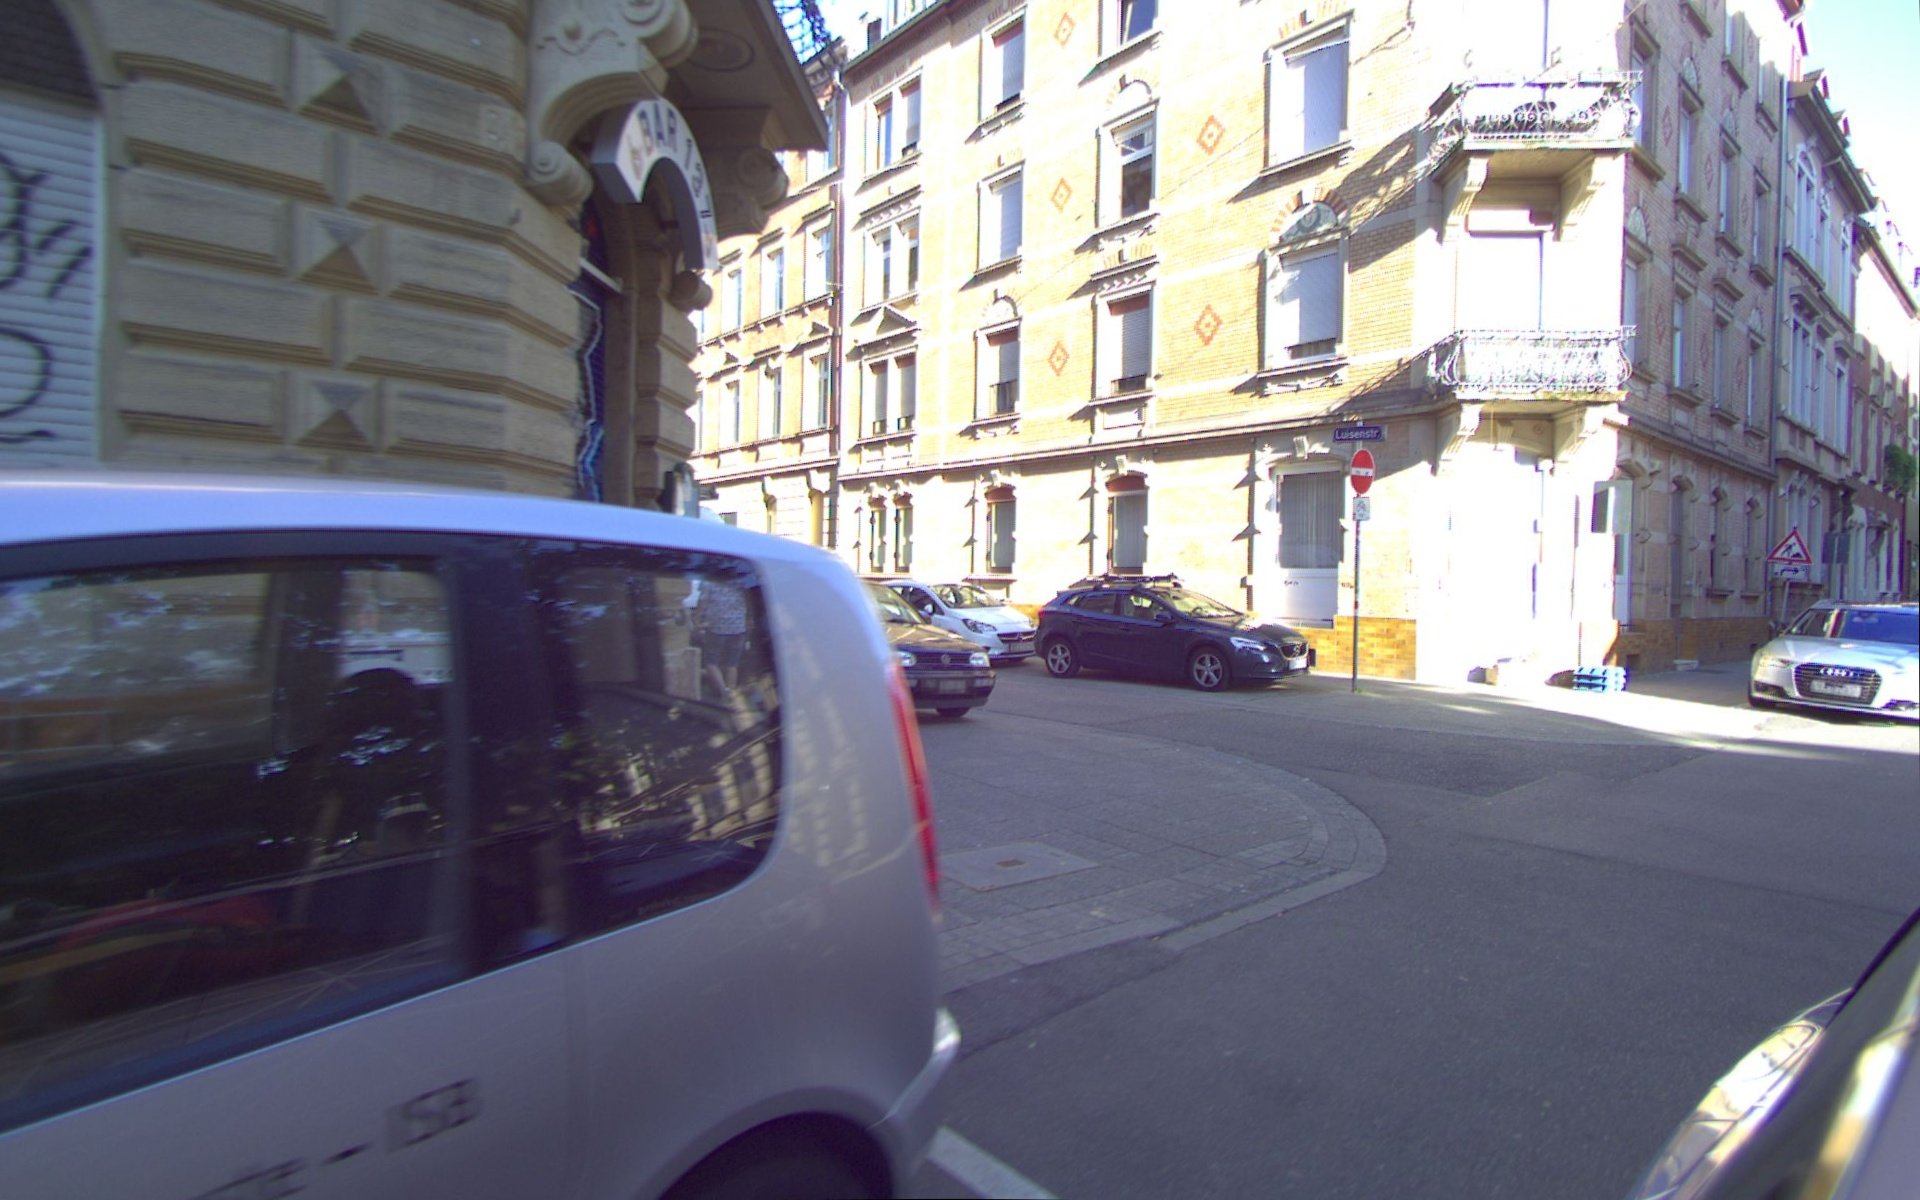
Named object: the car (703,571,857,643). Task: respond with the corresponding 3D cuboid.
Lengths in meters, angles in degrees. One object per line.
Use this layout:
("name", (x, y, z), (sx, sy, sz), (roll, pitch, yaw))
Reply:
("car", (-4.176, 0.125, 23.023), (1.704, 1.488, 3.995), (0, 0, -40))

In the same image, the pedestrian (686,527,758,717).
("pedestrian", (-2.310, 0.201, 9.788), (0.563, 1.754, 0.665), (1, 0, -21))

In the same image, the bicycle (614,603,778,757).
("bicycle", (-2.126, 0.567, 7.995), (0.524, 1.068, 1.779), (0, 0, -41))

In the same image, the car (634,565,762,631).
("car", (-6.941, -0.056, 26.558), (1.704, 1.602, 3.995), (0, 0, -40))

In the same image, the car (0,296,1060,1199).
("car", (-1.815, 0.589, 1.155), (3.871, 1.736, 1.705), (0, 1, -43))

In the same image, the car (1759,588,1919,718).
("car", (12.204, 0.601, 13.389), (4.432, 1.477, 1.709), (0, -1, -40))

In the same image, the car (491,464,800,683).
("car", (-5.161, -0.312, 15.675), (2.030, 2.685, 6.821), (3, -2, -40))

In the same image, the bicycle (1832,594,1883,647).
("bicycle", (23.594, 0.515, 26.594), (1.662, 1.320, 0.728), (0, 3, -40))

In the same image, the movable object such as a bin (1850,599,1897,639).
("movable object such as a bin", (26.045, 0.520, 28.841), (0.710, 1.074, 0.897), (0, 3, -42))

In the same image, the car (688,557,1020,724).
("car", (-1.318, 0.354, 11.006), (1.702, 1.470, 3.989), (1, 0, -39))

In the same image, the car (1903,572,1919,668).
("car", (21.906, 0.390, 21.835), (4.189, 1.986, 1.772), (0, -1, -40))

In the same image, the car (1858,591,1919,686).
("car", (16.575, 0.612, 17.029), (3.818, 1.498, 1.670), (0, 0, -40))

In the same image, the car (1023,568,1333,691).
("car", (3.137, 0.334, 15.124), (4.241, 1.488, 1.742), (1, 5, 44))

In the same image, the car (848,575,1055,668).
("car", (-0.259, 0.303, 18.522), (1.563, 1.456, 3.994), (-4, 4, -40))
